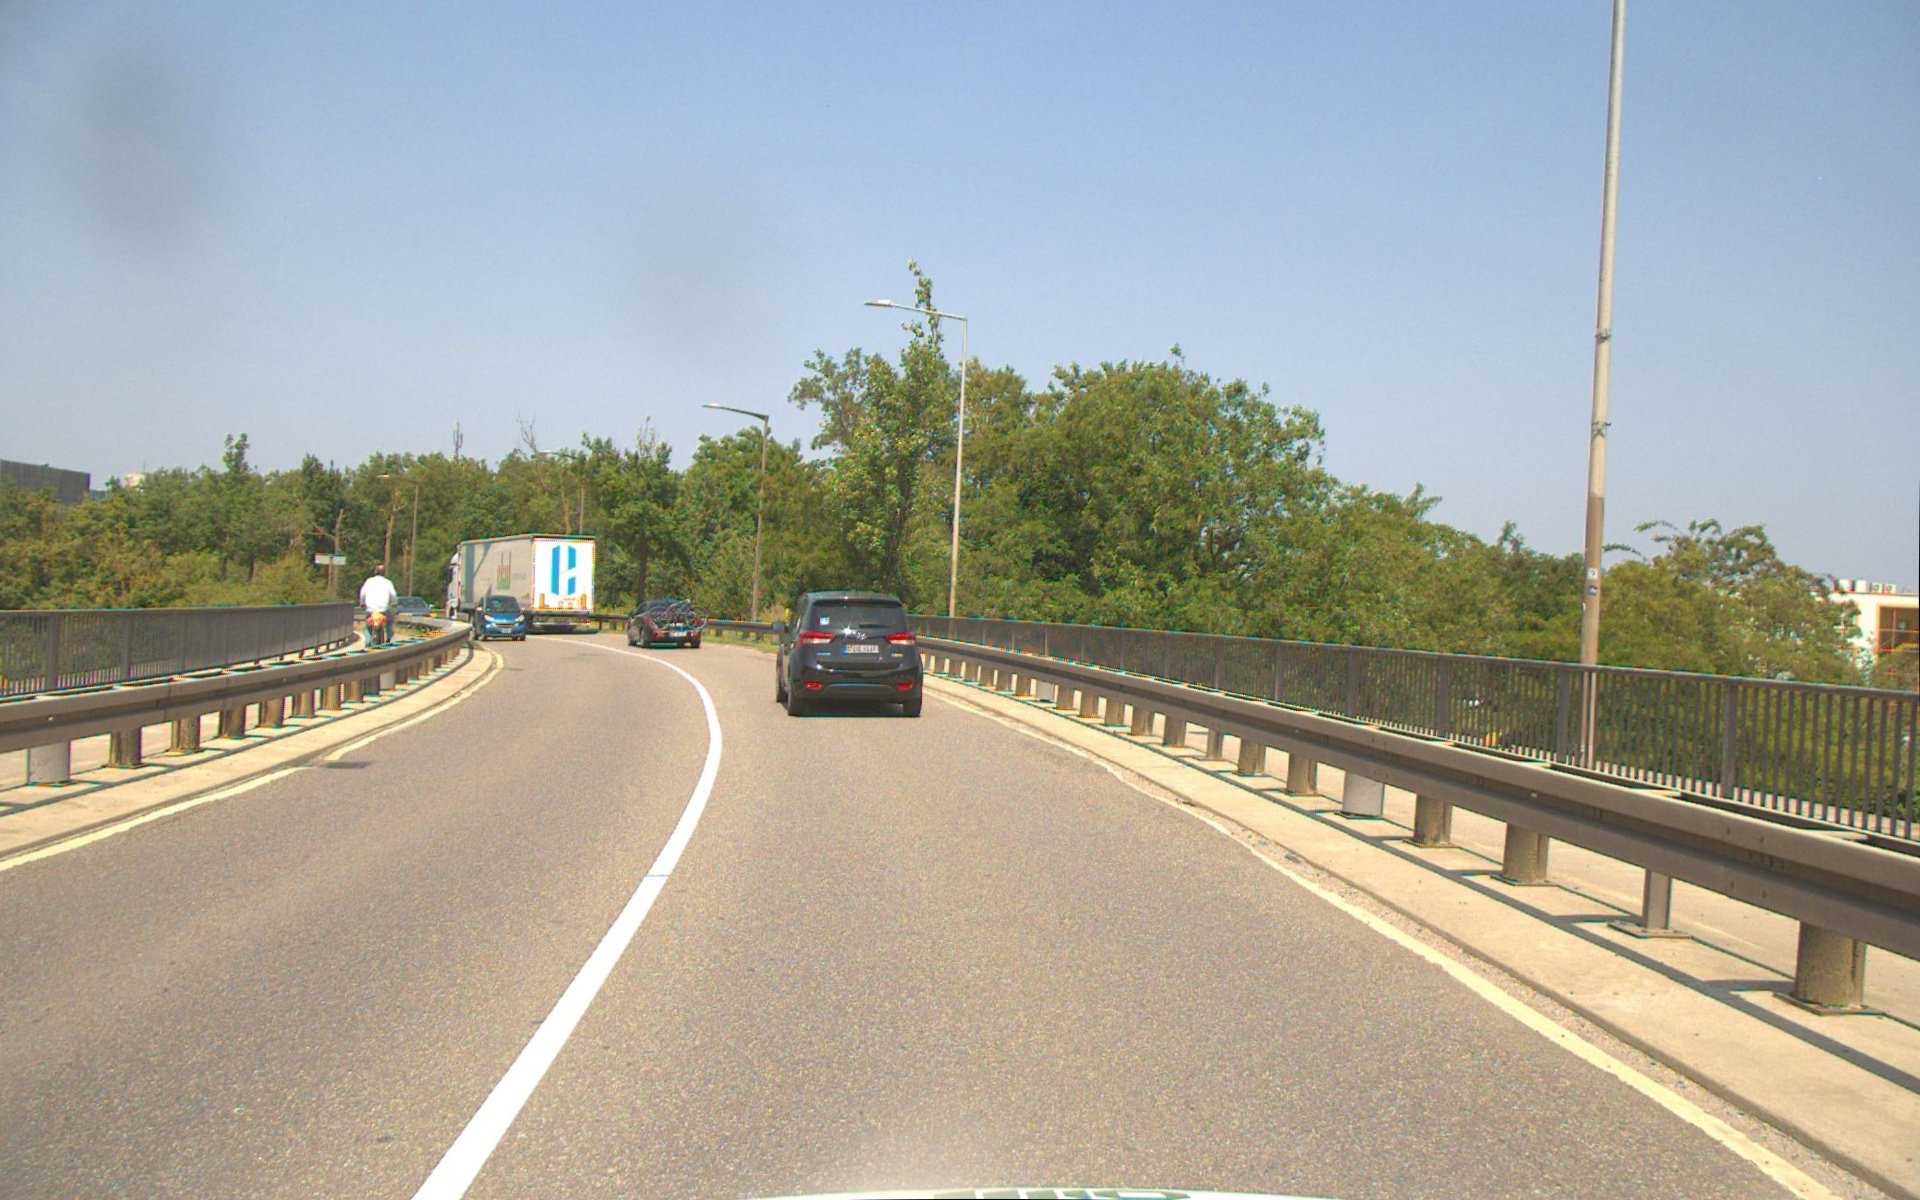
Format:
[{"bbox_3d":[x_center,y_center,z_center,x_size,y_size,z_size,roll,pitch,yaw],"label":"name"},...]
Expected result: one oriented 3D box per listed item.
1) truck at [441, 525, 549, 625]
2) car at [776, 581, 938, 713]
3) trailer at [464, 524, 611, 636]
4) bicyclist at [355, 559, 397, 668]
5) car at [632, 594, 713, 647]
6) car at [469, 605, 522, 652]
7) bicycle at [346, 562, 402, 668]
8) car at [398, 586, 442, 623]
[{"bbox_3d":[-22.146,-1.201,78.537,3.534,4.518,6.452,1,1,-29],"label":"truck"},{"bbox_3d":[-1.491,0.571,22.539,1.885,1.601,3.884,1,1,-8],"label":"car"},{"bbox_3d":[-18.521,-0.920,71.802,3.529,4.460,11.334,1,1,-28],"label":"trailer"},{"bbox_3d":[-10.446,0.242,29.589,0.613,1.919,0.710,1,1,-14],"label":"bicyclist"},{"bbox_3d":[-8.632,0.593,49.398,1.979,1.454,3.760,1,1,-16],"label":"car"},{"bbox_3d":[-16.065,0.959,57.105,1.573,1.512,2.732,1,1,-20],"label":"car"},{"bbox_3d":[-10.523,0.242,29.738,0.686,1.833,2.174,1,1,-13],"label":"bicycle"},{"bbox_3d":[-24.375,0.179,74.625,1.795,1.563,4.172,1,1,-19],"label":"car"}]
